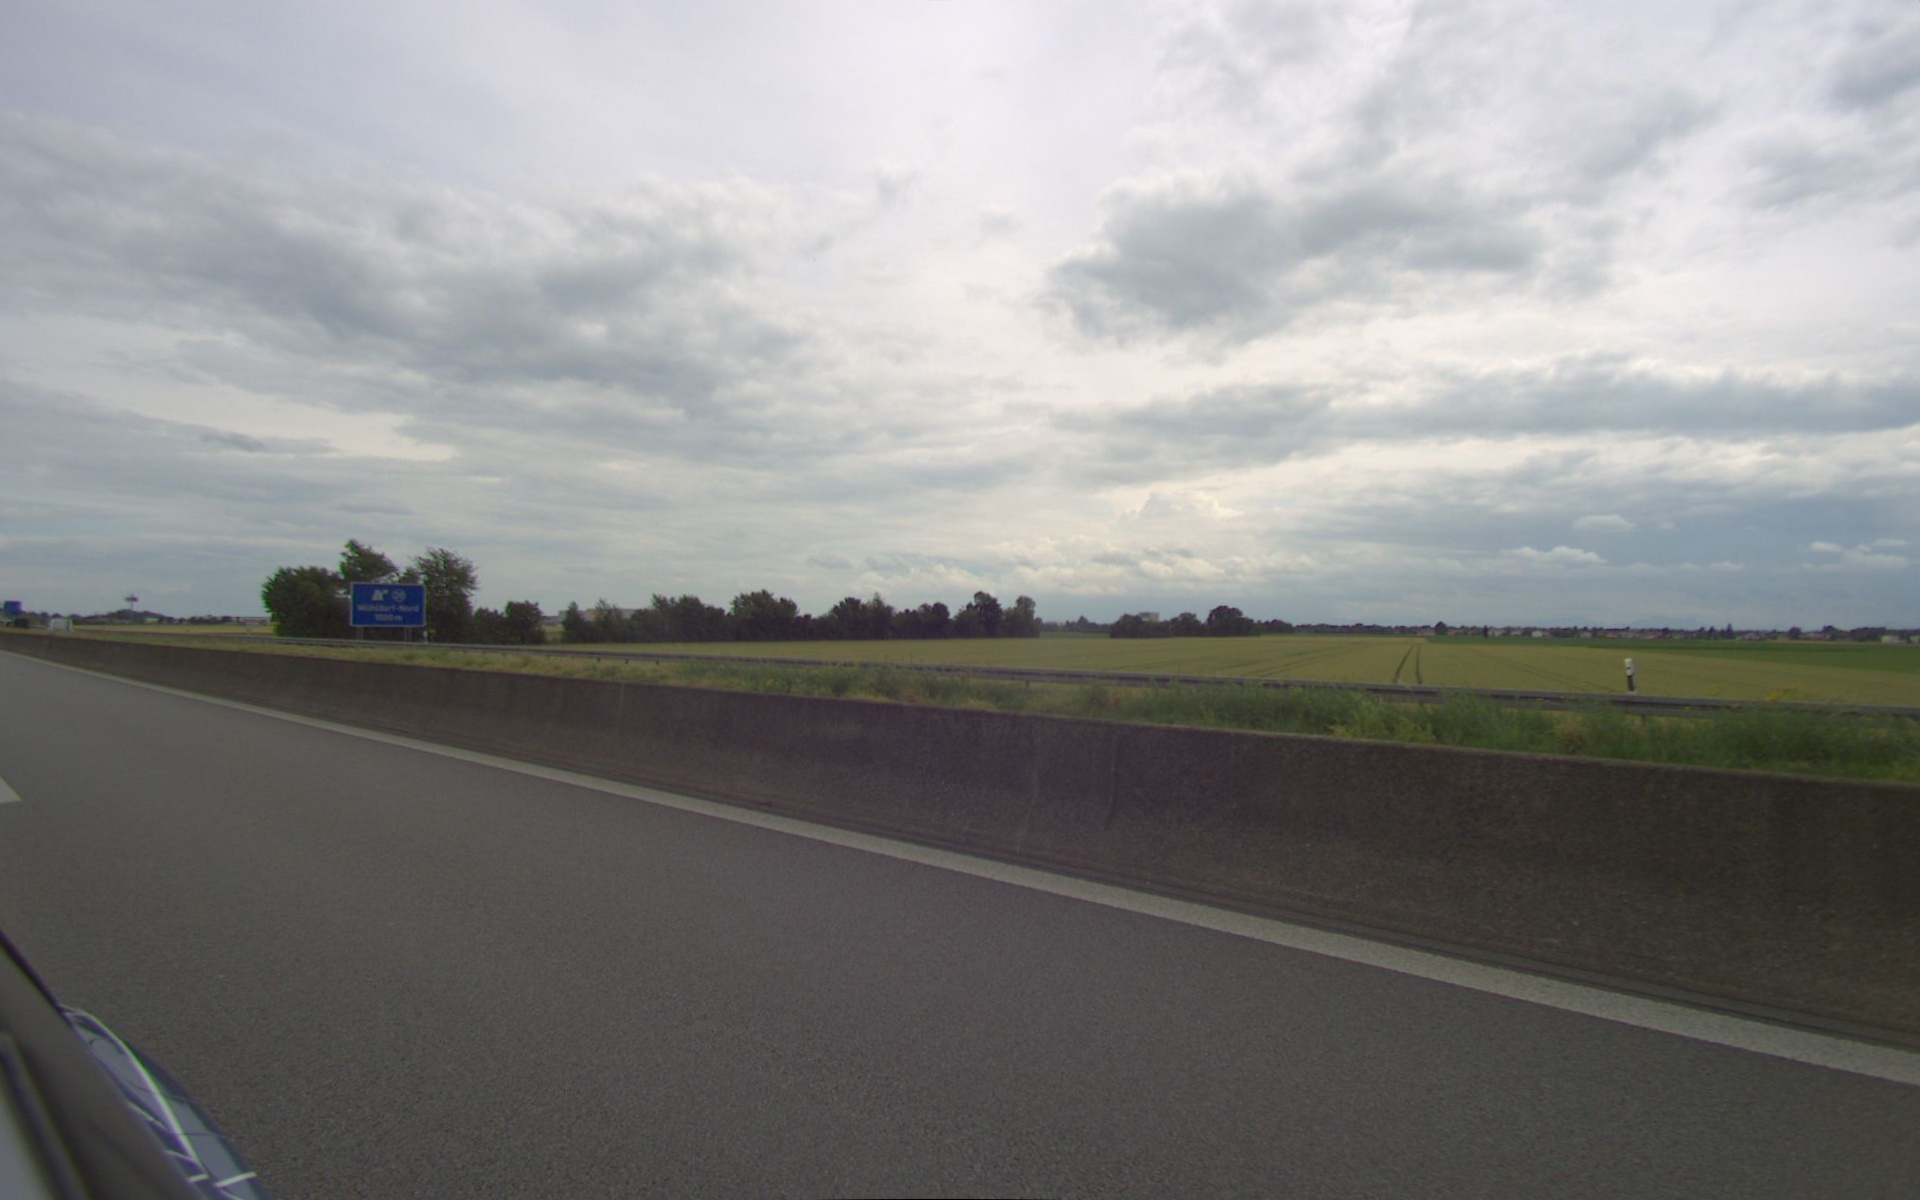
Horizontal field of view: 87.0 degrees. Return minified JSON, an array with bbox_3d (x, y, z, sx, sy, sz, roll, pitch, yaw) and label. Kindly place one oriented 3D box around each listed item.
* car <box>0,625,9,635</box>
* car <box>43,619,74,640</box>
[{"bbox_3d":[-144.830,4.524,152.597,4.181,1.503,1.671,-1,-2,41],"label":"car"},{"bbox_3d":[-92.857,2.990,104.216,4.906,2.125,2.008,-1,-2,44],"label":"car"}]
